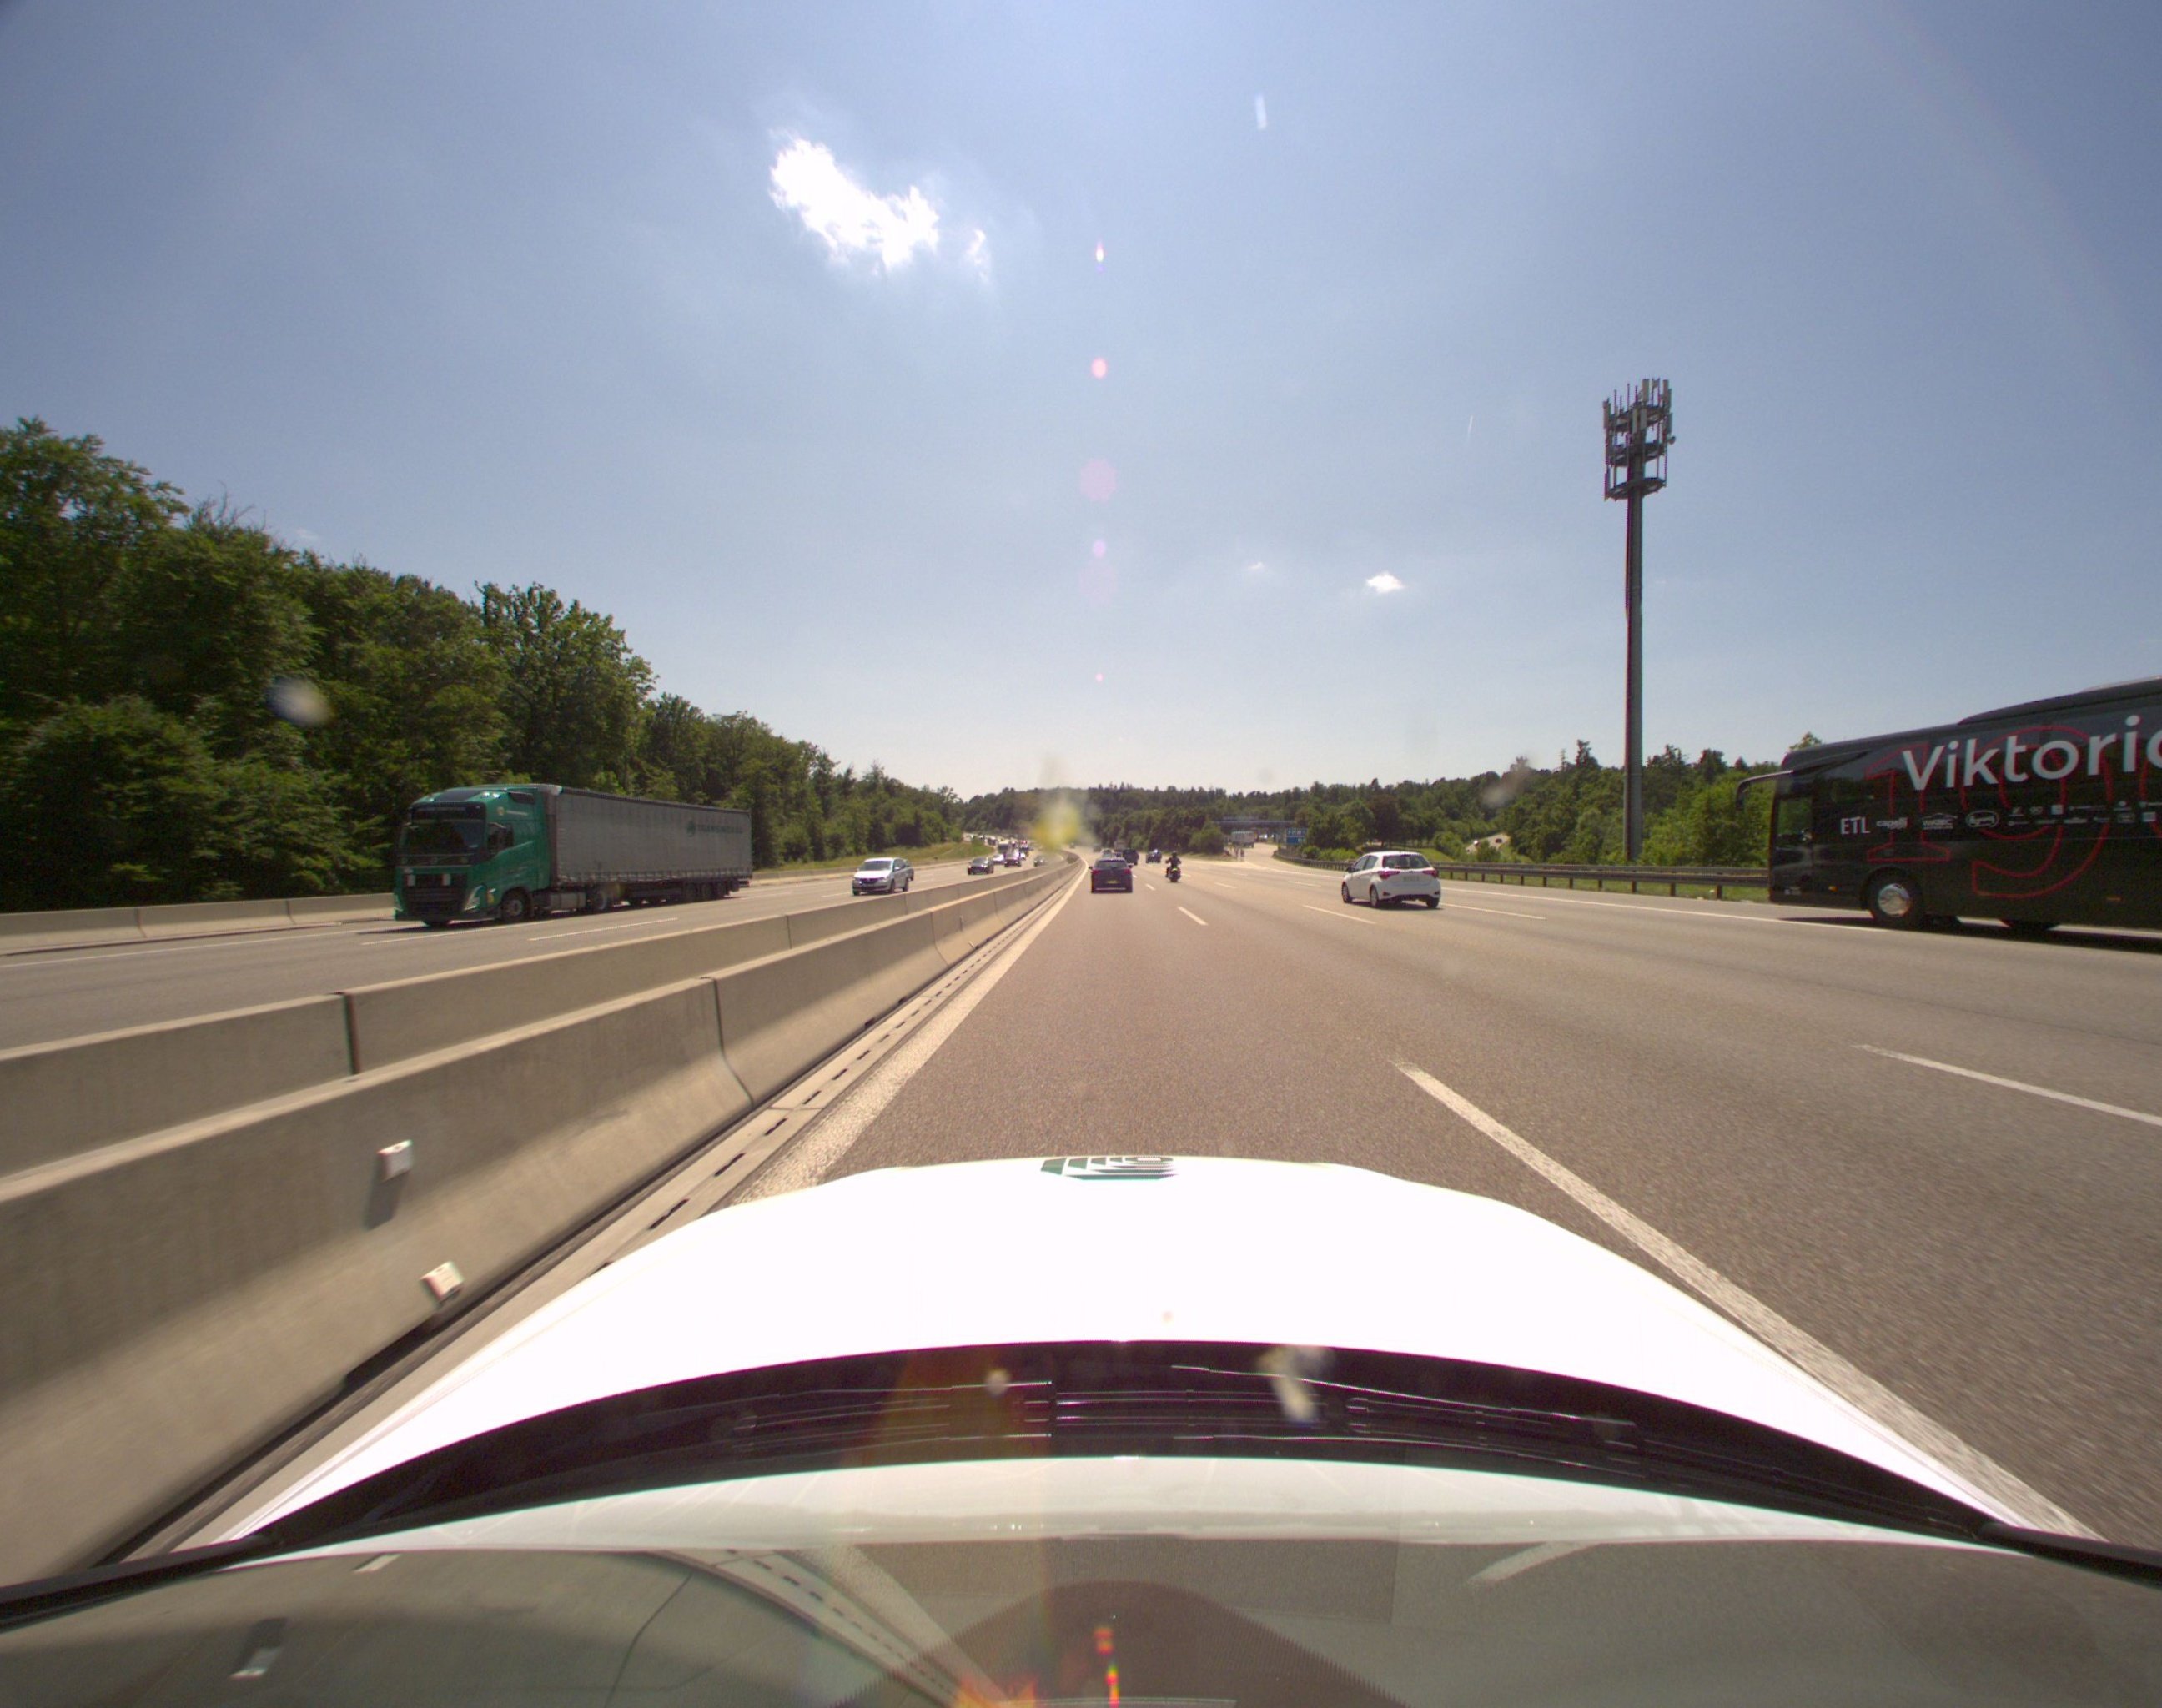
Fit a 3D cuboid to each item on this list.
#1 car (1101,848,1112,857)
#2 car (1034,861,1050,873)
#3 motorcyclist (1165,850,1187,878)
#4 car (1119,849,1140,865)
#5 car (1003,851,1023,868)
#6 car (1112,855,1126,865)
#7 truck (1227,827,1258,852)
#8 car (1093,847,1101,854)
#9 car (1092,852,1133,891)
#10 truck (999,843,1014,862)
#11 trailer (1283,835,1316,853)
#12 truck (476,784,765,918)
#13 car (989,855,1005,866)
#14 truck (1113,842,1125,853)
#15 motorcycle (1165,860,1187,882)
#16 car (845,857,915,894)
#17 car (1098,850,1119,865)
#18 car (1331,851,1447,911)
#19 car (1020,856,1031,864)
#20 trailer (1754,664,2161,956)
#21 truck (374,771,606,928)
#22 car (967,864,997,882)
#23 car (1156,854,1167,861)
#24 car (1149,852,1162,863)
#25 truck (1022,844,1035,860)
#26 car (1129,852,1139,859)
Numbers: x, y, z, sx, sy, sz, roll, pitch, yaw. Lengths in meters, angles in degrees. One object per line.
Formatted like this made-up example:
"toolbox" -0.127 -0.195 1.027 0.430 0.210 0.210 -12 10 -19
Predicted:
"car" 5.260 -0.303 169.797 1.988 1.683 4.421 2 1 -1
"car" -4.843 1.618 101.407 1.595 1.468 4.506 -1 0 1
"motorcyclist" 5.082 0.535 43.699 0.959 1.437 1.234 -1 0 -2
"car" 5.701 0.391 96.382 2.091 1.851 4.079 -1 0 -1
"car" -8.594 0.689 102.978 1.866 1.940 5.776 -1 0 1
"car" 5.784 0.900 123.767 1.837 1.222 4.222 2 1 -1
"truck" 43.093 -3.834 218.545 5.488 6.266 15.435 -1 0 1
"car" 4.816 -1.165 244.448 1.988 2.013 4.672 2 1 -1
"car" 1.347 0.730 34.150 1.617 1.487 3.688 1 -1 3
"truck" -16.936 -0.362 185.865 2.673 4.177 6.231 -1 0 0
"trailer" 51.028 -2.395 189.829 3.128 3.637 13.709 -1 2 34
"truck" -16.676 -0.072 31.747 2.680 4.025 14.304 -1 0 2
"car" -12.657 0.929 122.921 1.866 1.534 4.814 -3 0 1
"truck" 10.212 -1.779 218.560 2.719 2.786 5.680 2 1 -1
"motorcycle" 5.095 0.889 43.873 0.974 1.129 2.271 0 0 0
"car" -9.046 0.933 37.041 1.825 1.561 4.778 -1 0 1
"car" 2.384 0.333 71.281 1.776 1.265 3.460 -1 0 0
"car" 8.409 0.681 22.651 1.660 1.433 4.378 -3 0 2
"car" -11.027 1.249 162.531 1.866 1.480 4.814 -1 0 1
"trailer" 15.049 -0.564 9.986 2.846 3.688 13.549 0 -1 2
"truck" -16.951 -0.107 23.903 2.648 4.025 5.512 -1 0 1
"car" -8.727 1.625 72.221 1.865 1.476 5.113 -1 0 2
"car" 14.050 0.572 141.880 1.603 1.212 3.461 -1 0 1
"car" 9.826 0.501 107.592 1.668 1.431 3.688 1 0 3
"truck" -14.124 -0.582 220.189 2.522 4.177 9.620 -1 0 1
"car" 9.153 0.301 141.874 1.603 1.212 3.461 0 0 1
